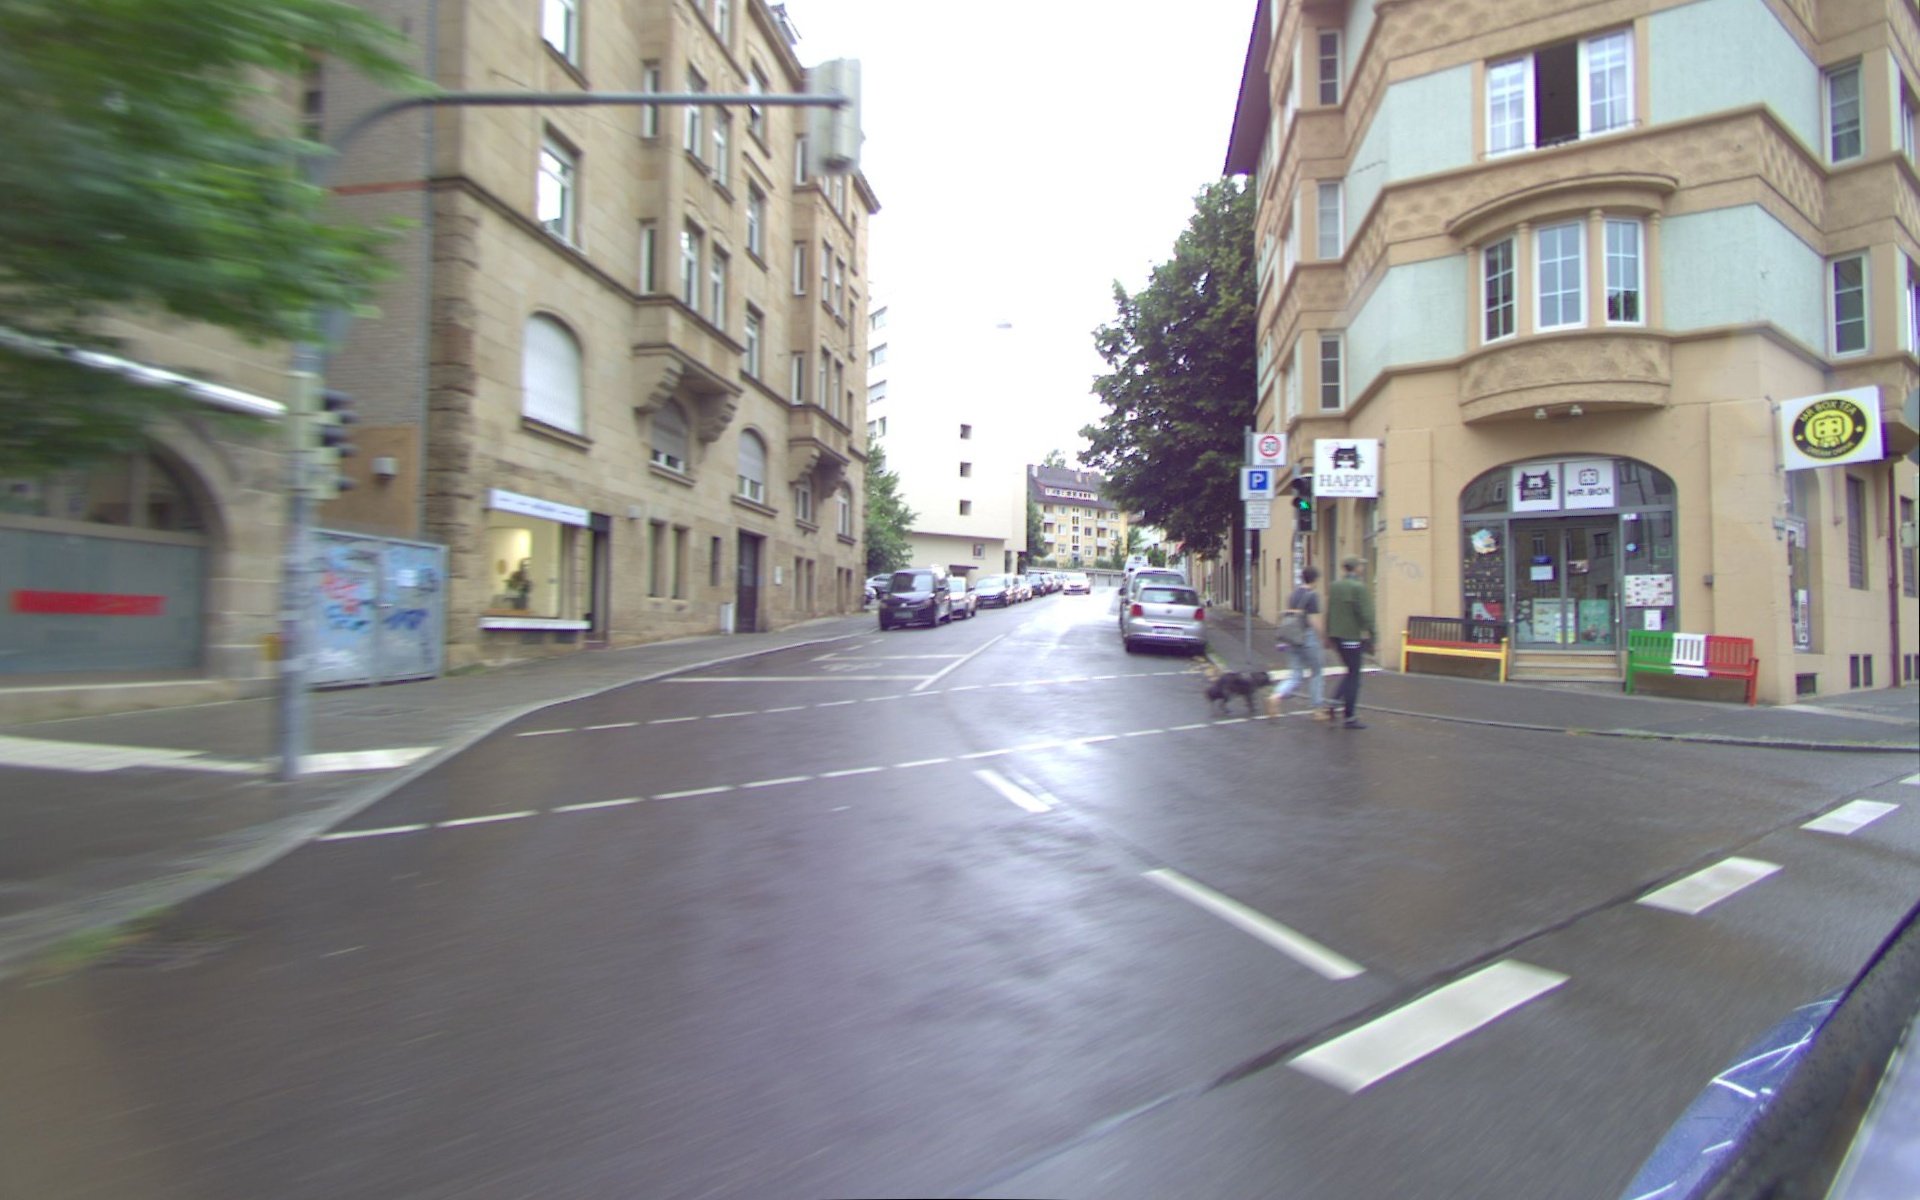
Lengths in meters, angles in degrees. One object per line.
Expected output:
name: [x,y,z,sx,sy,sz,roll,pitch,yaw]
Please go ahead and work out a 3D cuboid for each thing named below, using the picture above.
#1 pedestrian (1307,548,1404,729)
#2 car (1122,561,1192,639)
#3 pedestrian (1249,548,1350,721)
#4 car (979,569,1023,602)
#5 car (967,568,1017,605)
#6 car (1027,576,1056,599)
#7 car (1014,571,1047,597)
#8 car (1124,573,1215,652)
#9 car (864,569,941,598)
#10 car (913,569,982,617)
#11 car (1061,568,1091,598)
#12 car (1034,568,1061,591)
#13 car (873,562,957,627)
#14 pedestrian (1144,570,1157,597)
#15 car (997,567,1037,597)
pedestrian: [4.155,0.377,10.624,0.875,1.811,0.595,0,1,-40]
car: [5.077,-0.009,26.424,1.578,1.867,3.546,-2,0,9]
pedestrian: [3.737,0.358,11.133,0.886,1.811,0.683,0,1,-40]
car: [2.190,-0.743,52.799,1.718,1.528,3.989,-4,0,10]
car: [1.537,-0.630,47.485,1.718,1.528,3.989,-4,0,10]
car: [6.168,-0.938,76.271,1.718,1.528,3.989,-4,0,10]
car: [4.677,-1.072,66.457,1.718,1.528,3.989,-4,0,10]
car: [4.402,0.221,21.672,1.663,1.478,3.526,2,1,9]
car: [-3.204,-0.921,56.609,3.939,1.502,1.736,-1,-1,13]
car: [-0.390,-0.266,36.571,1.718,1.528,3.989,-4,0,10]
car: [8.082,-1.186,70.055,1.718,1.896,3.989,-4,0,10]
car: [7.064,-1.616,81.077,1.718,1.660,3.989,-4,0,10]
car: [-1.300,-0.196,30.866,1.717,1.747,4.348,-3,1,8]
pedestrian: [14.832,-1.280,78.805,0.930,2.039,1.308,1,1,7]
car: [3.292,-0.999,57.679,1.718,1.528,3.989,-4,0,10]
